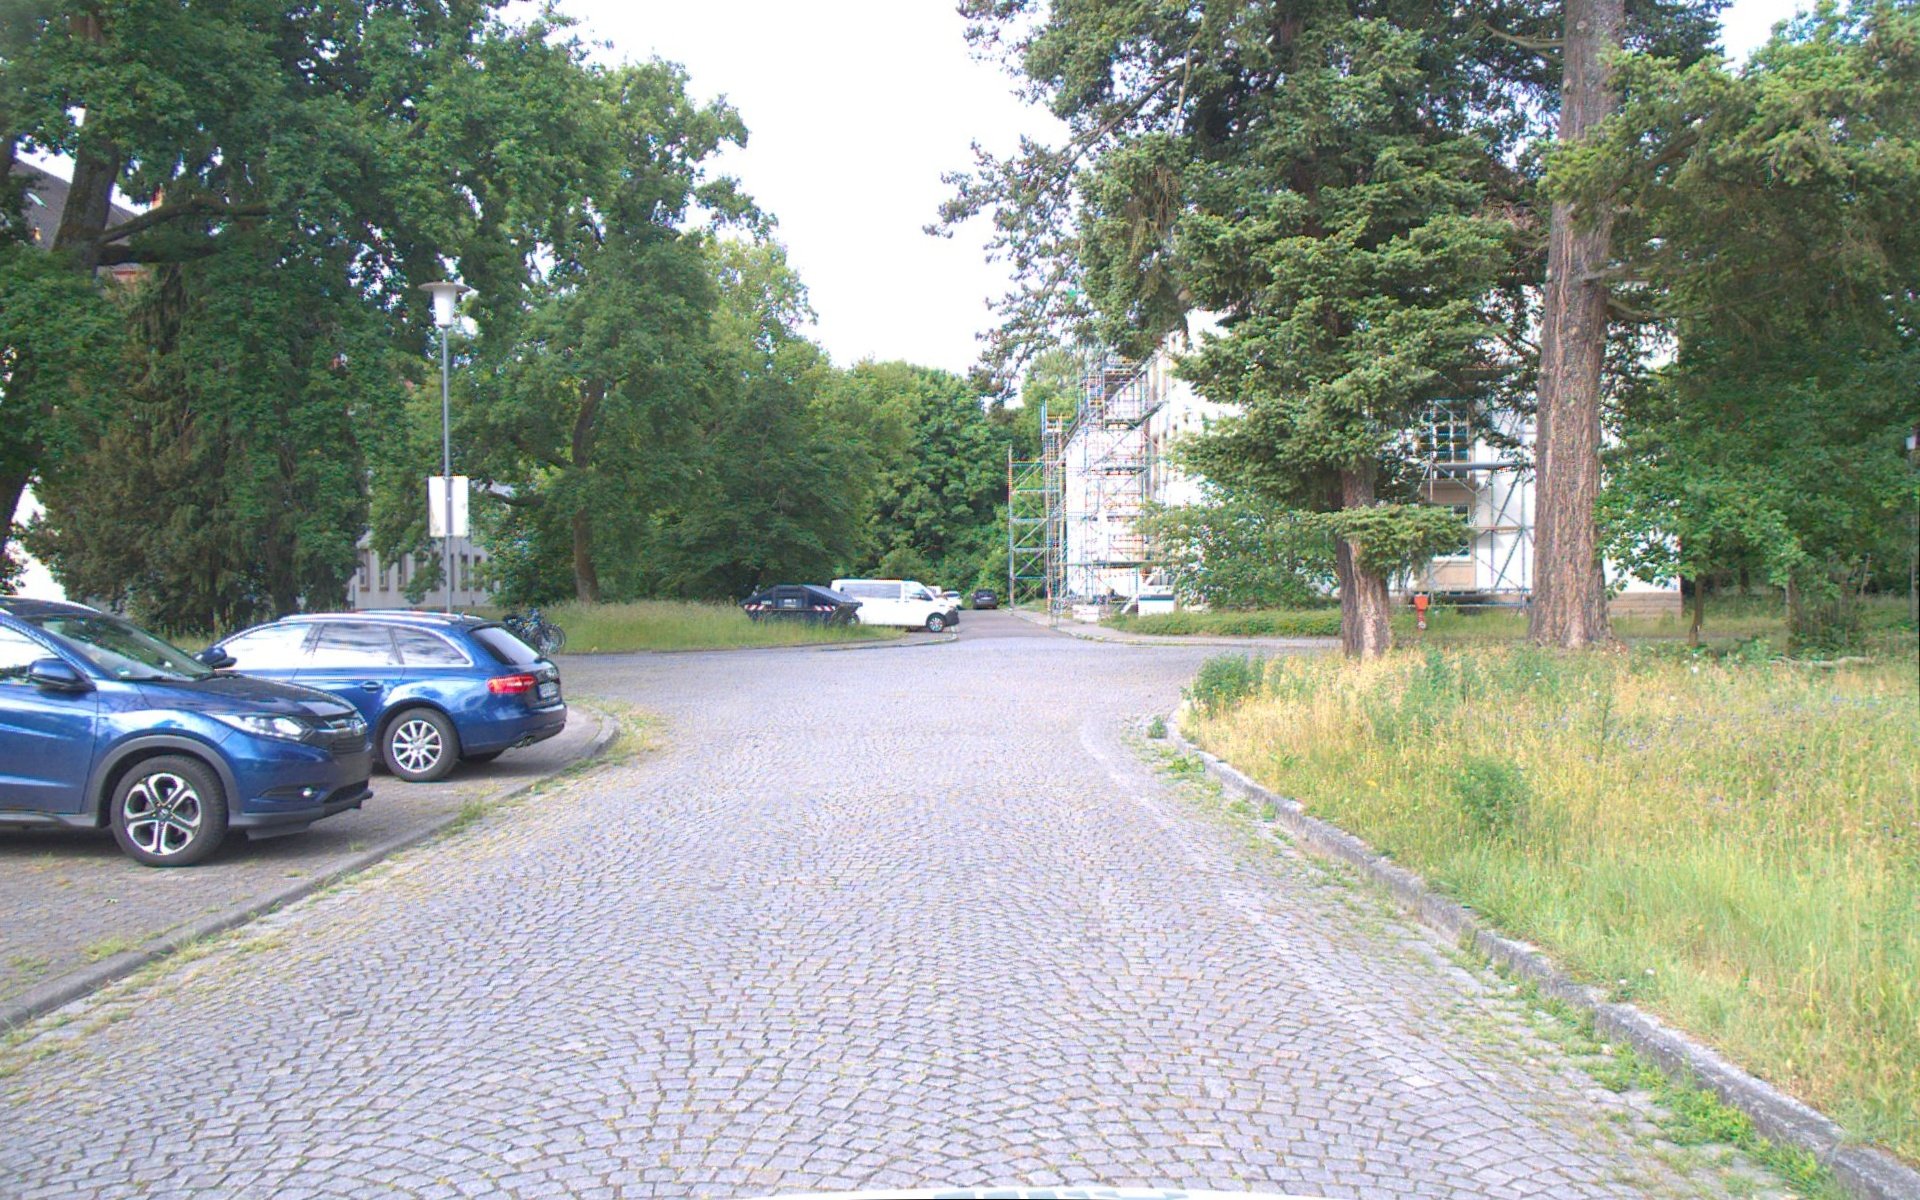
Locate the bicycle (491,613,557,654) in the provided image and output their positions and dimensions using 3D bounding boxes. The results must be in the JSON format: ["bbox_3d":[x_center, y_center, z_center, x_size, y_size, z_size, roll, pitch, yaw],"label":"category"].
[{"bbox_3d":[-11.896,0.909,45.128,1.677,1.072,0.571,0,-1,-21],"label":"bicycle"}]

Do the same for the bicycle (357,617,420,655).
[{"bbox_3d":[-16.319,1.028,47.212,1.677,1.072,0.571,0,-1,-21],"label":"bicycle"}]

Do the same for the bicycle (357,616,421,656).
[{"bbox_3d":[-15.907,0.997,46.074,1.677,1.072,0.571,0,-1,-21],"label":"bicycle"}]

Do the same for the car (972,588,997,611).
[{"bbox_3d":[1.939,-0.039,130.704,1.754,1.750,4.059,-1,-1,-2],"label":"car"}]

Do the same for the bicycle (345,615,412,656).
[{"bbox_3d":[-15.432,0.944,43.894,1.677,1.072,0.571,0,-1,-21],"label":"bicycle"}]

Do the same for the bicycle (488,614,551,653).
[{"bbox_3d":[-12.369,0.944,46.457,1.677,1.072,0.571,0,-1,-21],"label":"bicycle"}]

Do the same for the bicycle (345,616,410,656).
[{"bbox_3d":[-15.983,0.985,45.406,1.677,1.072,0.571,0,-1,-21],"label":"bicycle"}]

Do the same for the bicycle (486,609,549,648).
[{"bbox_3d":[-12.661,0.820,47.310,1.677,1.072,0.571,0,-1,-21],"label":"bicycle"}]

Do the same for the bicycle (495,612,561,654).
[{"bbox_3d":[-11.556,0.884,44.238,1.677,1.072,0.571,0,-1,-21],"label":"bicycle"}]

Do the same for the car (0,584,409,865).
[{"bbox_3d":[-5.809,0.723,10.558,3.989,1.632,1.787,0,0,-2],"label":"car"}]

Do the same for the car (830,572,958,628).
[{"bbox_3d":[-2.546,0.025,64.277,4.878,2.109,2.051,0,-1,-2],"label":"car"}]

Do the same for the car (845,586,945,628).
[{"bbox_3d":[-3.195,0.373,81.679,4.878,2.003,2.051,0,-1,-2],"label":"car"}]

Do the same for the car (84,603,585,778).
[{"bbox_3d":[-5.659,0.794,15.257,3.986,1.493,1.626,0,0,3],"label":"car"}]

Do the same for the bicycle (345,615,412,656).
[{"bbox_3d":[-15.632,0.958,44.438,1.677,1.072,0.571,0,-1,-21],"label":"bicycle"}]

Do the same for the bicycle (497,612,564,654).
[{"bbox_3d":[-11.343,0.869,43.679,1.677,1.072,0.571,0,-1,-21],"label":"bicycle"}]

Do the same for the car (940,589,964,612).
[{"bbox_3d":[-0.628,0.040,130.345,1.754,1.665,4.059,-1,-1,-2],"label":"car"}]

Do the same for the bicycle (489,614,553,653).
[{"bbox_3d":[-12.166,0.928,45.850,1.677,1.072,0.571,0,-1,-21],"label":"bicycle"}]
